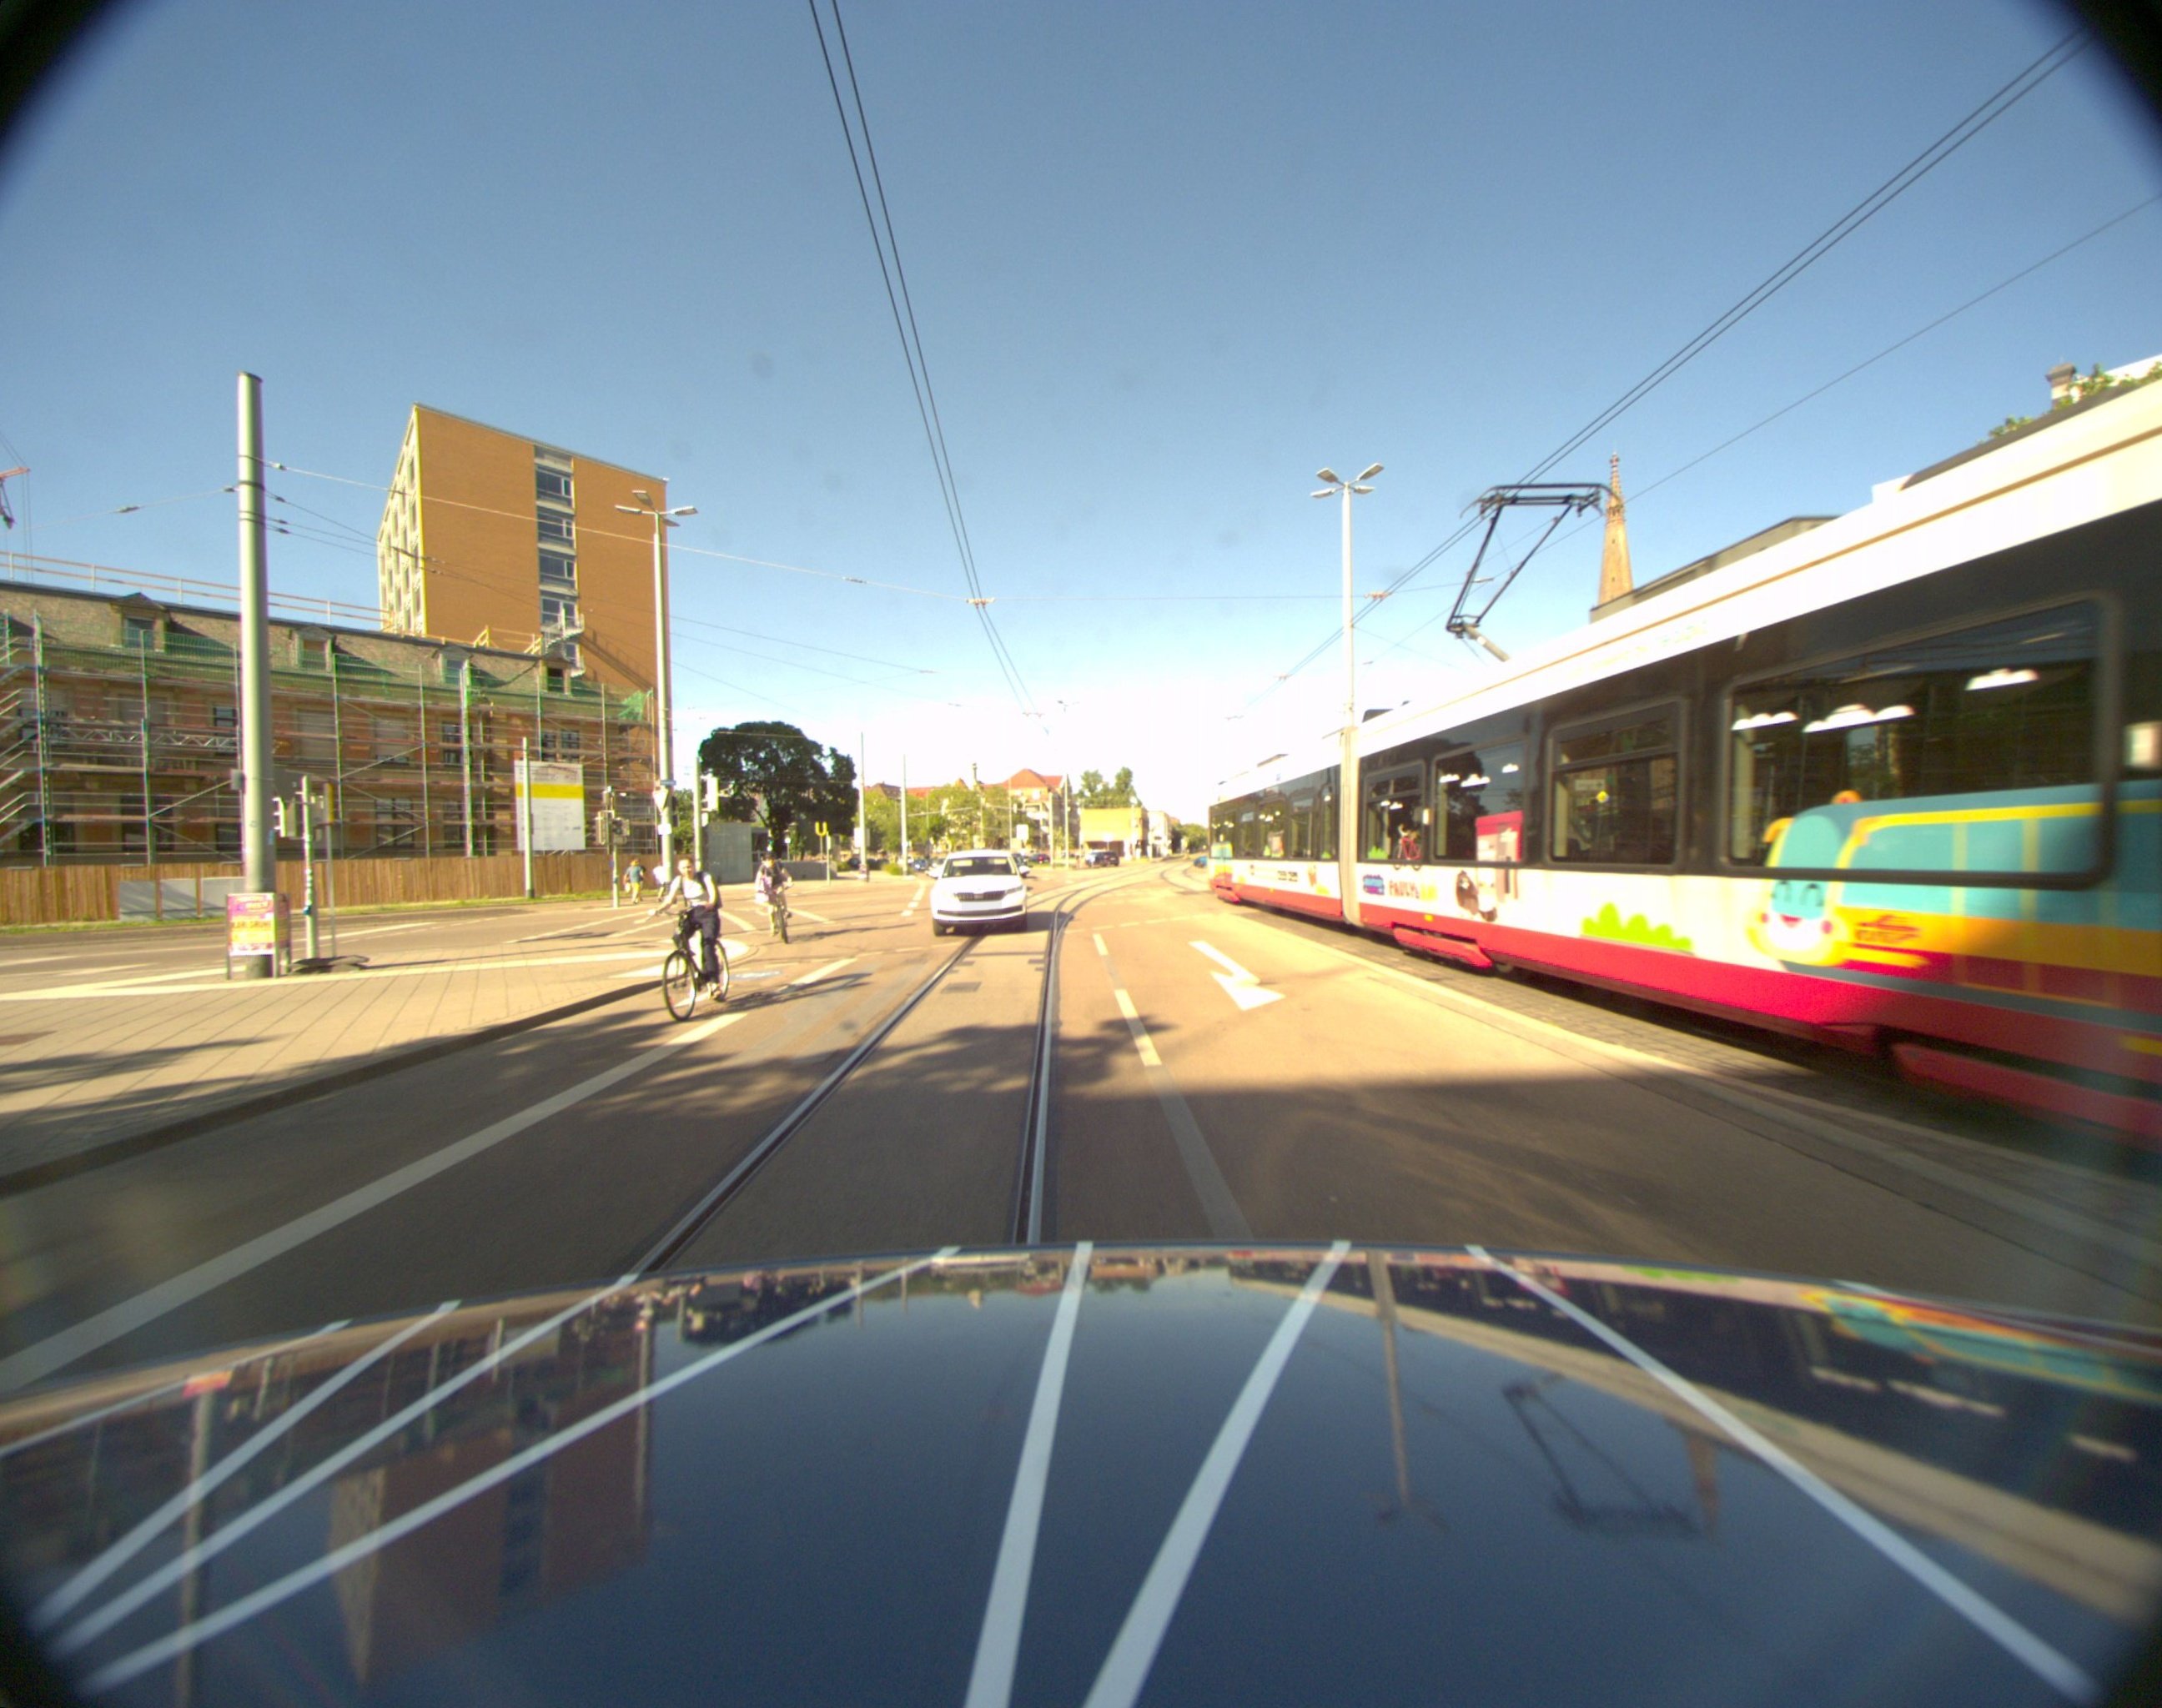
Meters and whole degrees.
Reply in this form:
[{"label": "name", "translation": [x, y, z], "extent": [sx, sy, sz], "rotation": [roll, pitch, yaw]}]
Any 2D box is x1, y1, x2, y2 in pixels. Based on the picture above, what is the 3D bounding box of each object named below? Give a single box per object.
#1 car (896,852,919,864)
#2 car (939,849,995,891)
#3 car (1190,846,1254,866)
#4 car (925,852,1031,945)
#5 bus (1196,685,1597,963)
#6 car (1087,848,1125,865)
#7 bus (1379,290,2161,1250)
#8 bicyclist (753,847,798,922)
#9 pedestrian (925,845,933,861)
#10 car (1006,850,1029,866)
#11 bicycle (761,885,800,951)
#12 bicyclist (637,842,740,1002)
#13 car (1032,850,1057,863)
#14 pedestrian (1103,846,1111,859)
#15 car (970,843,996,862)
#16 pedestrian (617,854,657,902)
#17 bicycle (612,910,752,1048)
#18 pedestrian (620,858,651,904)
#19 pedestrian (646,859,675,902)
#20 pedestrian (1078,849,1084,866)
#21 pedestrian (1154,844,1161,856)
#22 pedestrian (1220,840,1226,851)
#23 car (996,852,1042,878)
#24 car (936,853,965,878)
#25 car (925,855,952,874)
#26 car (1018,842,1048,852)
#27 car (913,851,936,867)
[{"label": "car", "translation": [-21.921, 0.497, 95.817], "extent": [1.924, 1.450, 4.659], "rotation": [-4, 1, -23]}, {"label": "car", "translation": [-5.061, 0.629, 33.373], "extent": [1.888, 1.621, 4.007], "rotation": [-4, 1, -15]}, {"label": "car", "translation": [11.266, 0.154, 60.756], "extent": [4.587, 1.450, 1.917], "rotation": [-1, 1, 30]}, {"label": "car", "translation": [-2.157, 0.816, 16.281], "extent": [1.870, 1.635, 4.394], "rotation": [-2, 0, -7]}, {"label": "bus", "translation": [5.214, -0.461, 16.780], "extent": [2.848, 3.569, 13.492], "rotation": [-2, 1, -1]}, {"label": "car", "translation": [2.468, 0.197, 76.478], "extent": [2.046, 1.568, 4.620], "rotation": [-2, 2, -22]}, {"label": "bus", "translation": [5.428, -0.353, 4.580], "extent": [2.848, 3.569, 10.723], "rotation": [-2, 1, -1]}, {"label": "bicyclist", "translation": [-6.117, 0.586, 15.191], "extent": [0.677, 1.413, 1.034], "rotation": [-4, 2, -26]}, {"label": "pedestrian", "translation": [-24.344, -0.192, 121.730], "extent": [0.876, 2.421, 0.888], "rotation": [-4, 2, -22]}, {"label": "car", "translation": [-6.591, 0.415, 78.931], "extent": [1.688, 1.523, 3.909], "rotation": [-4, 1, -14]}, {"label": "bicycle", "translation": [-6.065, 1.247, 15.279], "extent": [0.534, 1.152, 1.861], "rotation": [-3, 2, -26]}, {"label": "bicyclist", "translation": [-4.206, 0.687, 8.211], "extent": [0.551, 1.604, 0.952], "rotation": [-3, 2, -4]}, {"label": "car", "translation": [-4.532, 0.306, 94.859], "extent": [1.853, 1.408, 4.473], "rotation": [-2, 1, -20]}, {"label": "pedestrian", "translation": [3.554, -0.187, 104.988], "extent": [0.857, 1.819, 0.703], "rotation": [-3, 2, 19]}, {"label": "car", "translation": [-15.095, -0.197, 116.603], "extent": [2.246, 2.666, 5.295], "rotation": [-4, 1, -25]}, {"label": "pedestrian", "translation": [-18.504, 0.983, 31.698], "extent": [0.933, 1.919, 1.048], "rotation": [-3, 2, -5]}, {"label": "bicycle", "translation": [-4.153, 1.244, 8.078], "extent": [0.533, 1.111, 1.933], "rotation": [-3, 1, -4]}, {"label": "pedestrian", "translation": [-17.685, 1.058, 30.184], "extent": [0.661, 1.747, 0.823], "rotation": [-3, 2, -5]}, {"label": "pedestrian", "translation": [-17.104, 1.063, 30.916], "extent": [0.661, 1.667, 0.823], "rotation": [-3, 2, -5]}, {"label": "pedestrian", "translation": [-0.025, 0.309, 72.495], "extent": [0.372, 1.547, 0.644], "rotation": [-3, 2, -7]}, {"label": "pedestrian", "translation": [11.898, -0.654, 118.032], "extent": [0.857, 1.870, 0.693], "rotation": [-3, 2, 19]}, {"label": "pedestrian", "translation": [23.044, -1.394, 123.312], "extent": [0.690, 1.851, 0.730], "rotation": [-3, 2, 15]}, {"label": "car", "translation": [-3.899, 0.639, 47.344], "extent": [1.923, 1.450, 3.859], "rotation": [-4, 1, -19]}, {"label": "car", "translation": [-9.289, 0.783, 54.412], "extent": [1.887, 1.621, 4.009], "rotation": [-3, 1, -9]}, {"label": "car", "translation": [-13.183, 0.944, 70.102], "extent": [1.889, 1.557, 4.006], "rotation": [-4, 1, -18]}, {"label": "car", "translation": [-9.423, -1.389, 148.672], "extent": [5.244, 1.793, 2.404], "rotation": [-4, 2, -31]}, {"label": "car", "translation": [-17.055, 0.536, 82.703], "extent": [1.889, 1.557, 4.006], "rotation": [-4, 1, -18]}]
